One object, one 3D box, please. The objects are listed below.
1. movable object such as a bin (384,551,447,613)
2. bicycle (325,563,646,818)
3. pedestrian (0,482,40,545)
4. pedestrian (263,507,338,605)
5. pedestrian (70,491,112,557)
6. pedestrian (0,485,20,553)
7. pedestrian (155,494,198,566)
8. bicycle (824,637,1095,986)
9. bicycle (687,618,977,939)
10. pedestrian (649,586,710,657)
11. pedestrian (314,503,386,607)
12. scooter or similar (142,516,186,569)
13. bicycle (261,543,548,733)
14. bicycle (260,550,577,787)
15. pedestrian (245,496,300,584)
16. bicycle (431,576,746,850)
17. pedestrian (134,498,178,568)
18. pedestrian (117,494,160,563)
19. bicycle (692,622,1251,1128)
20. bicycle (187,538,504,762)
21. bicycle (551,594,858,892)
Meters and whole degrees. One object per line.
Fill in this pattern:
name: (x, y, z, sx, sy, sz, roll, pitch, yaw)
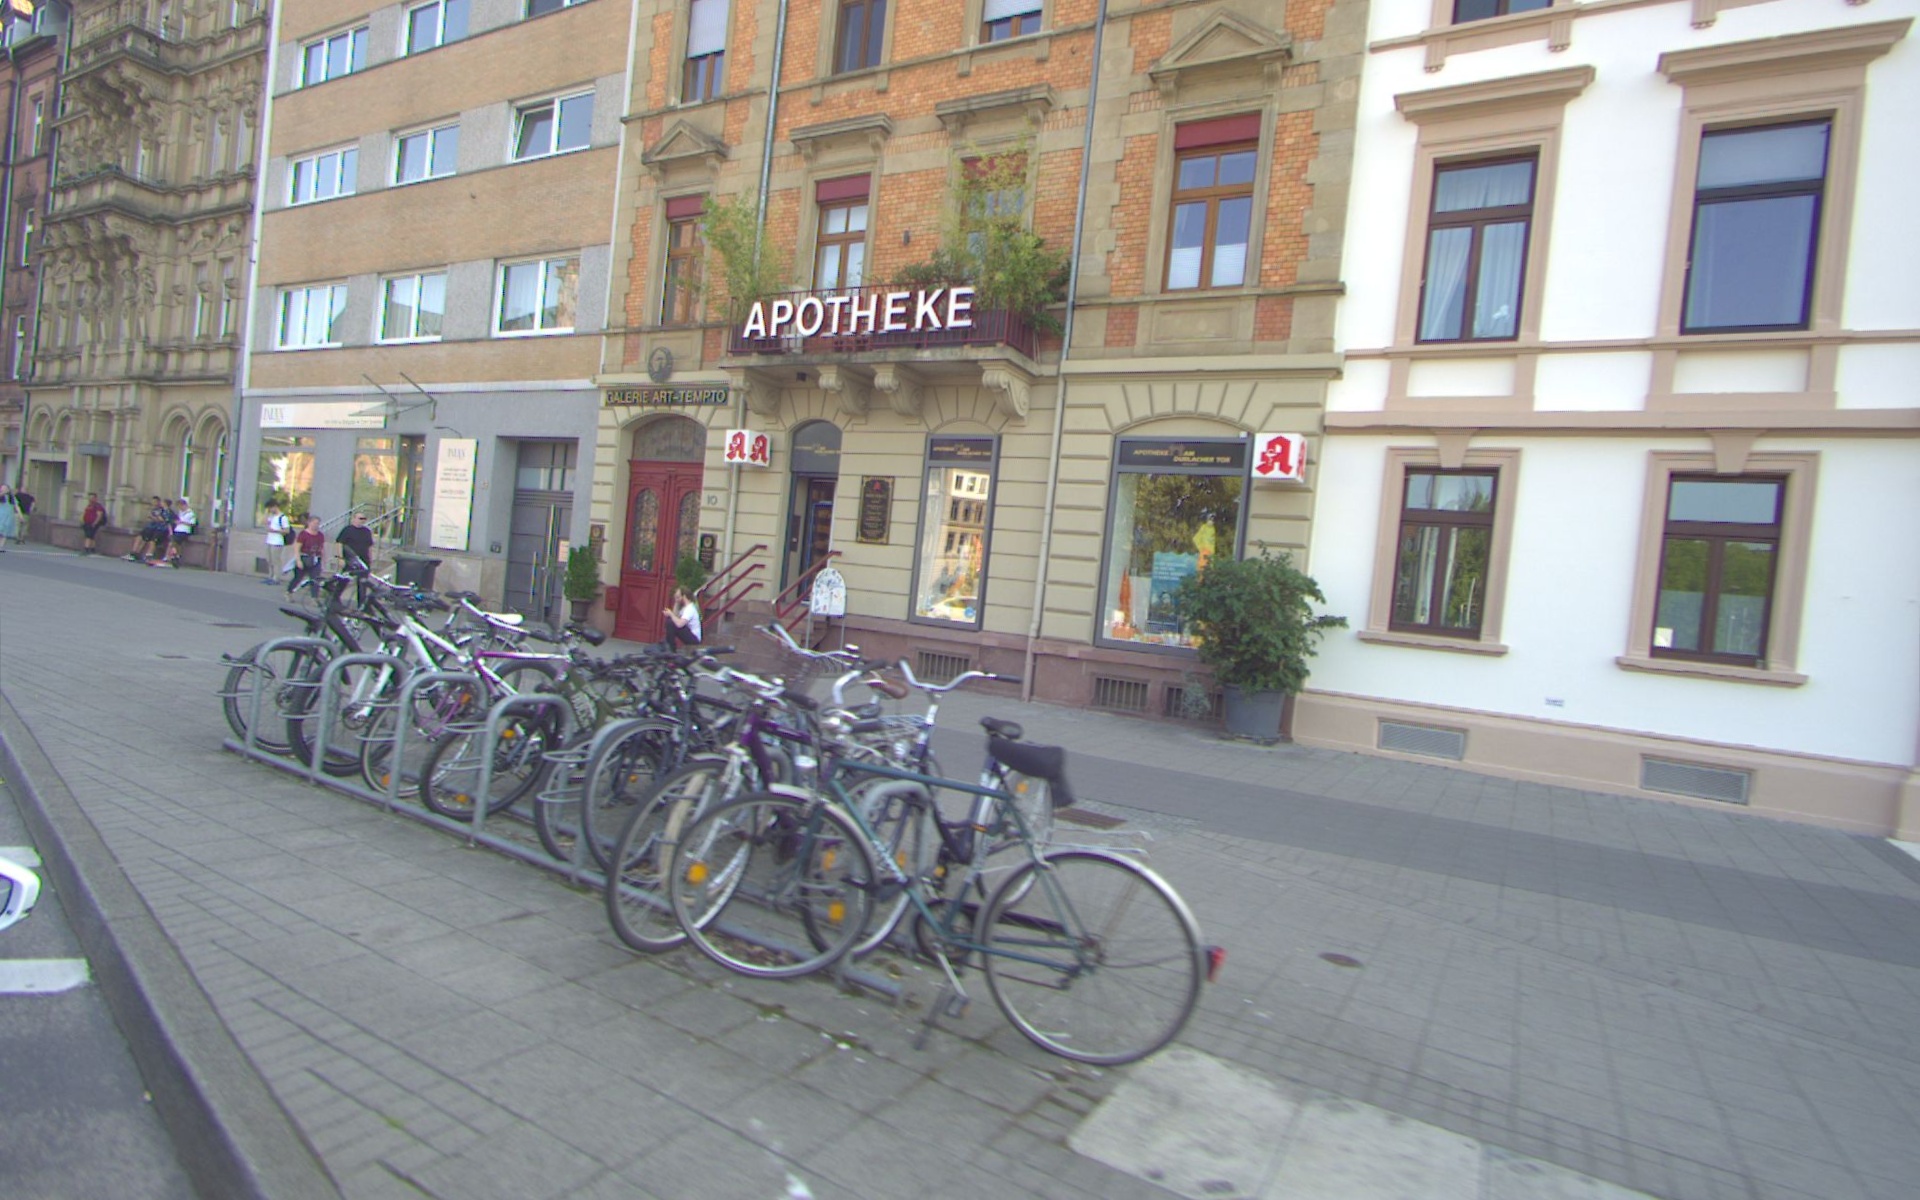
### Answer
movable object such as a bin: (-10.433, -0.332, 19.306, 0.657, 1.094, 0.739, 6, 1, 13)
bicycle: (-2.488, 0.455, 5.493, 0.378, 1.163, 1.636, 6, 0, 25)
pedestrian: (-27.794, -2.544, 29.736, 0.679, 1.741, 0.630, 7, 1, 30)
pedestrian: (-11.780, -0.773, 17.966, 0.842, 1.631, 0.720, 6, 1, 31)
pedestrian: (-23.459, -2.053, 27.158, 0.577, 1.676, 0.604, 7, 1, 27)
pedestrian: (-23.758, -2.019, 24.873, 0.799, 1.631, 0.486, 6, 1, 31)
pedestrian: (-20.034, -1.786, 25.723, 0.502, 1.753, 0.604, 7, 1, 27)
bicycle: (0.084, 0.766, 4.263, 0.378, 1.163, 1.636, 6, 0, 25)
bicycle: (-0.485, 0.703, 4.547, 0.378, 1.163, 1.636, 6, 0, 25)
pedestrian: (-4.222, 0.322, 15.134, 0.608, 0.994, 0.629, 5, 1, -40)
pedestrian: (-11.296, -0.821, 18.631, 0.842, 1.810, 0.720, 6, 1, 31)
scooter or similar: (-19.400, -1.409, 24.513, 1.132, 1.178, 0.360, 6, 1, 28)
bicycle: (-3.885, 0.278, 7.170, 0.592, 1.163, 1.634, 6, 1, 32)
bicycle: (-3.042, 0.378, 5.840, 0.378, 1.163, 1.636, 6, 0, 25)
pedestrian: (-15.227, -1.329, 22.296, 0.729, 1.855, 0.604, 7, 1, 27)
bicycle: (-1.811, 0.528, 5.179, 0.378, 1.163, 1.636, 6, 0, 25)
pedestrian: (-20.955, -1.743, 26.218, 0.577, 1.713, 0.604, 7, 1, 27)
pedestrian: (-21.569, -1.883, 26.419, 0.577, 1.713, 0.604, 7, 1, 27)
bicycle: (-0.010, 0.739, 3.155, 1.626, 1.163, 0.408, 6, 1, 25)
bicycle: (-3.649, 0.299, 6.139, 0.378, 1.163, 1.636, 6, 0, 25)
bicycle: (-1.127, 0.610, 4.828, 0.378, 1.163, 1.636, 6, 0, 25)
